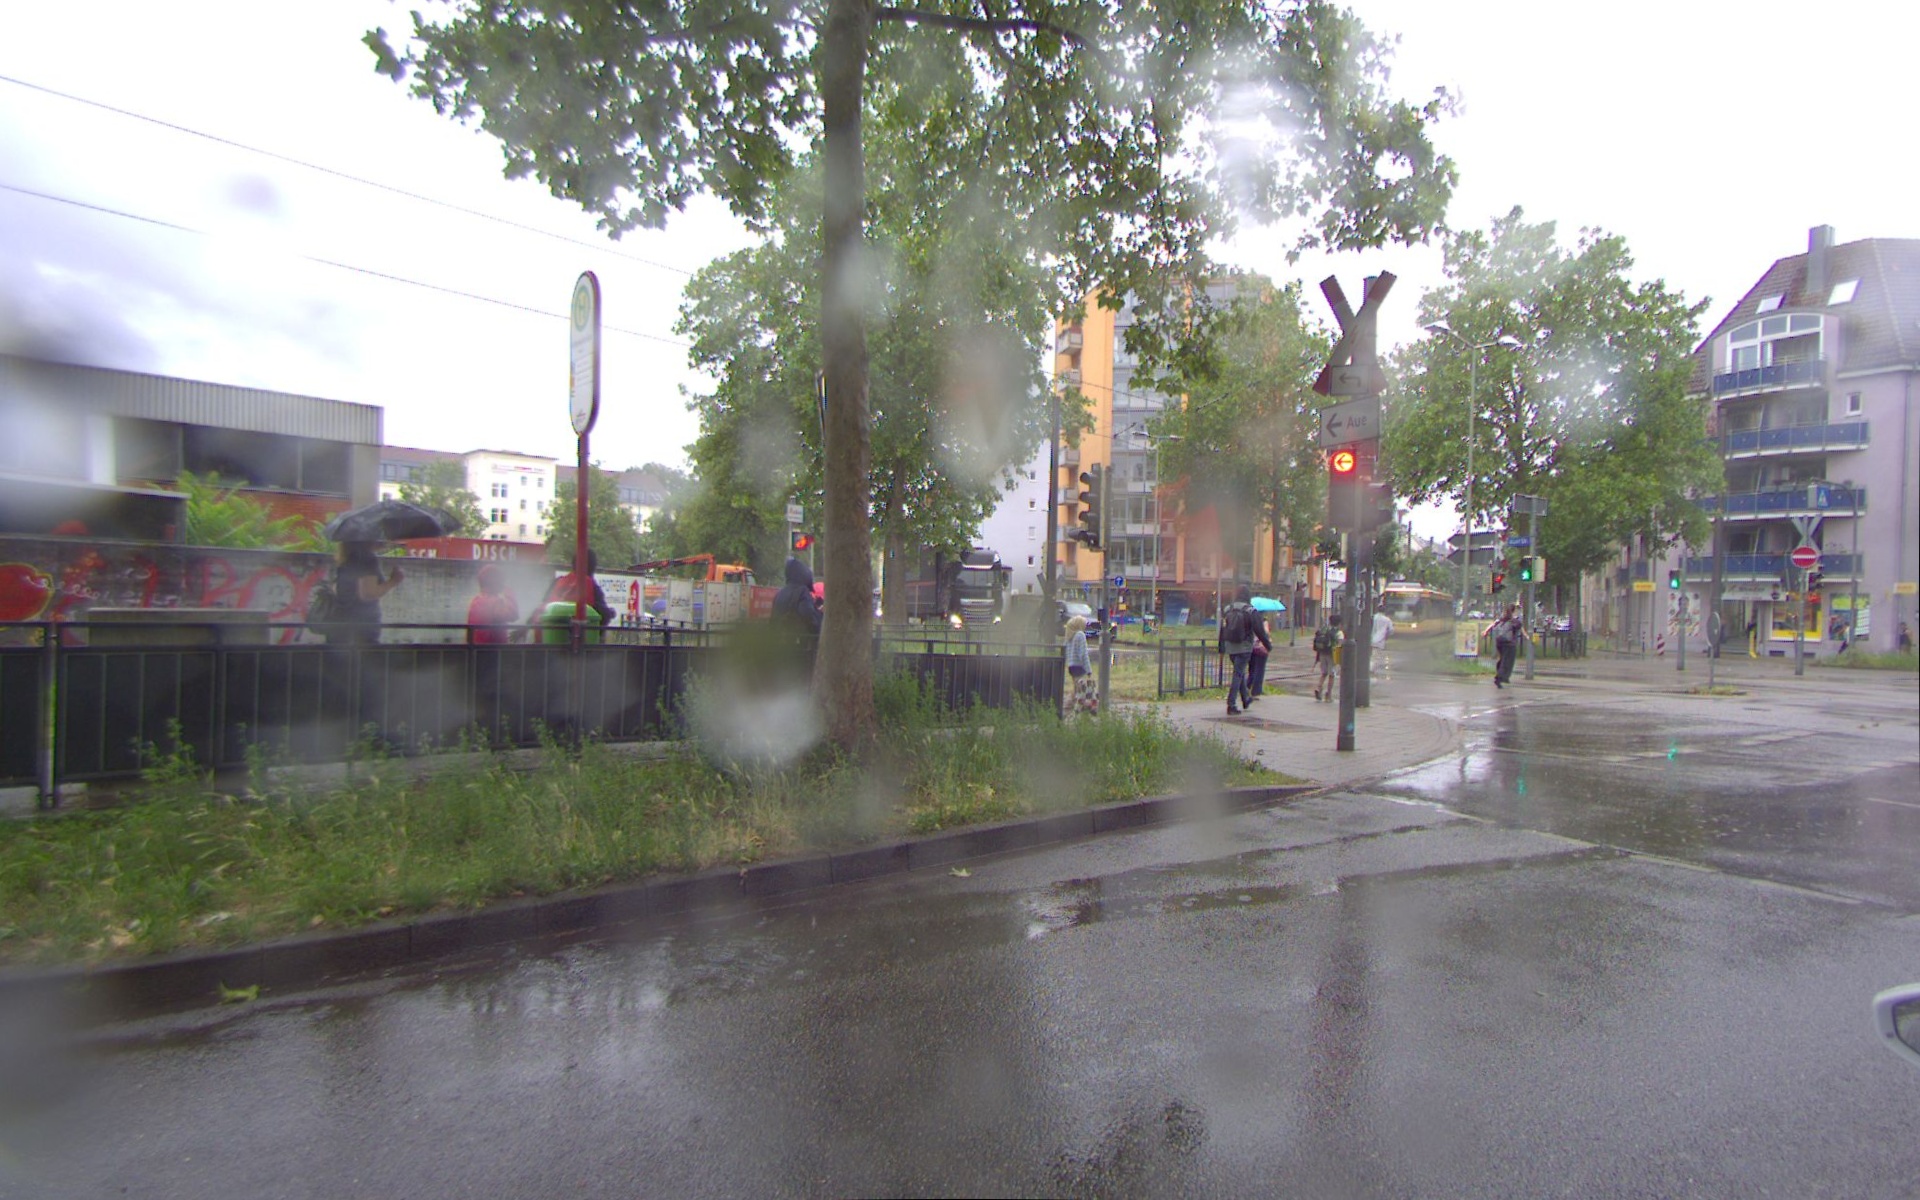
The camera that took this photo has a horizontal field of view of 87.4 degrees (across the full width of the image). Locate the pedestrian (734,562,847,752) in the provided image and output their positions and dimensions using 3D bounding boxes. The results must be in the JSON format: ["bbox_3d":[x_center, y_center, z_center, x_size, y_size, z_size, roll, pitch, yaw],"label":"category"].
[{"bbox_3d":[-1.592,0.518,9.526,0.823,1.722,0.689,-1,0,17],"label":"pedestrian"}]

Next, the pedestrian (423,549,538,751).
[{"bbox_3d":[-3.890,0.385,8.148,0.654,1.540,0.675,1,0,-42],"label":"pedestrian"}]

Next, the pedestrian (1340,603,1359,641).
[{"bbox_3d":[22.982,1.299,59.257,0.871,2.179,0.910,2,0,29],"label":"pedestrian"}]

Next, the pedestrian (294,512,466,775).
[{"bbox_3d":[-4.012,0.292,6.972,0.783,1.705,0.659,-2,0,23],"label":"pedestrian"}]

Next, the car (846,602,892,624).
[{"bbox_3d":[-8.250,1.174,90.935,3.930,1.808,1.996,2,0,-12],"label":"car"}]

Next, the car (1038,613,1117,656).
[{"bbox_3d":[4.658,1.351,40.429,1.585,1.551,4.017,1,1,-19],"label":"car"}]

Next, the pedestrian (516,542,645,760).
[{"bbox_3d":[-3.072,0.388,8.123,0.809,1.646,0.724,0,0,-37],"label":"pedestrian"}]

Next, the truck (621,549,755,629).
[{"bbox_3d":[-11.766,-0.450,43.599,5.383,3.205,2.164,2,0,-16],"label":"truck"}]

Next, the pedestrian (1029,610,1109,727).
[{"bbox_3d":[1.340,0.823,12.349,0.704,1.367,0.650,1,1,-44],"label":"pedestrian"}]

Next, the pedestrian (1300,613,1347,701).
[{"bbox_3d":[6.118,0.934,16.882,0.638,1.414,0.782,1,0,26],"label":"pedestrian"}]

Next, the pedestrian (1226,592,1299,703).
[{"bbox_3d":[5.108,0.774,16.933,0.943,1.789,0.951,2,0,31],"label":"pedestrian"}]

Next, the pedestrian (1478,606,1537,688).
[{"bbox_3d":[10.698,0.903,19.629,0.785,1.553,0.743,2,0,-41],"label":"pedestrian"}]

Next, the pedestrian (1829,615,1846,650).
[{"bbox_3d":[37.210,1.371,42.601,0.557,1.477,0.440,2,0,-39],"label":"pedestrian"}]

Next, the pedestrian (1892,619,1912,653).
[{"bbox_3d":[38.462,1.460,41.006,0.437,1.347,0.560,2,0,30],"label":"pedestrian"}]

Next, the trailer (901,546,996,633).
[{"bbox_3d":[-0.816,-0.462,50.747,2.593,3.899,10.114,2,0,-13],"label":"trailer"}]

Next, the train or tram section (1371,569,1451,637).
[{"bbox_3d":[29.523,0.326,65.105,2.839,3.818,17.211,2,0,30],"label":"train or tram section"}]

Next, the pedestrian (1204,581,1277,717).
[{"bbox_3d":[4.039,0.682,14.455,0.777,1.880,0.679,2,1,37],"label":"pedestrian"}]

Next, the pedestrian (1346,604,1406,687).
[{"bbox_3d":[8.453,0.902,20.427,0.956,1.622,0.670,0,1,-30],"label":"pedestrian"}]

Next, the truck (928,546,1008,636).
[{"bbox_3d":[0.277,-0.387,46.057,2.593,3.842,4.444,2,0,-13],"label":"truck"}]
